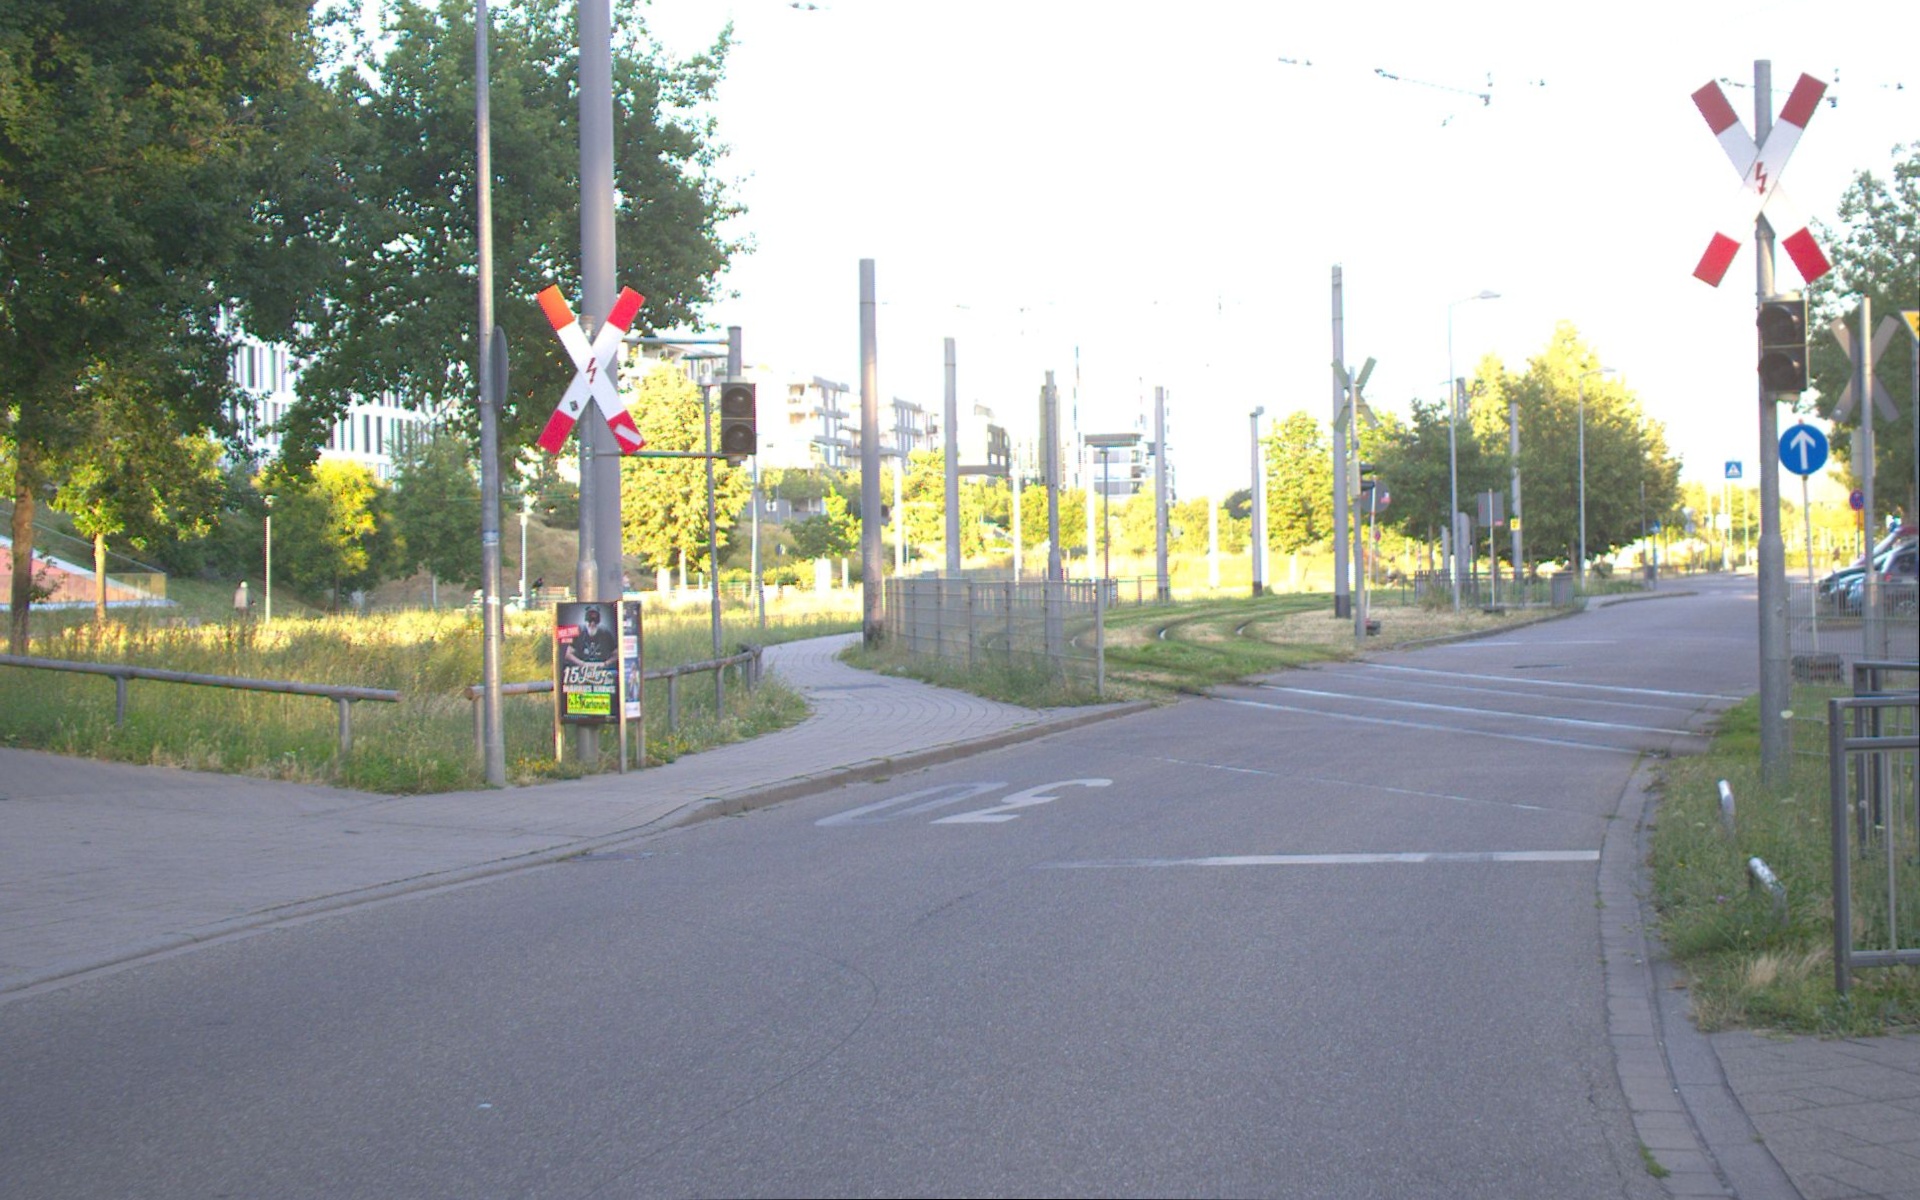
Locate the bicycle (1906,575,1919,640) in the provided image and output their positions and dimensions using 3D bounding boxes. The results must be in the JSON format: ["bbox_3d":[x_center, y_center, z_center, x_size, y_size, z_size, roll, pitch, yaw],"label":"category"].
[{"bbox_3d":[17.957,0.135,63.161,0.716,1.148,1.898,-3,2,4],"label":"bicycle"}]

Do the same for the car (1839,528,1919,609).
[{"bbox_3d":[20.014,-0.697,69.909,4.053,1.563,1.672,-2,0,15],"label":"car"}]

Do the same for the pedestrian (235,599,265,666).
[{"bbox_3d":[-22.087,1.012,106.934,0.616,2.075,0.790,1,0,14],"label":"pedestrian"}]

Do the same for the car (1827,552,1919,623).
[{"bbox_3d":[20.972,-0.286,75.318,3.776,1.490,1.538,-1,-2,15],"label":"car"}]

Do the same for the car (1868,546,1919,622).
[{"bbox_3d":[19.892,-0.342,67.745,3.751,1.468,1.612,-1,0,11],"label":"car"}]

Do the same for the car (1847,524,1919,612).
[{"bbox_3d":[24.435,-0.824,84.641,4.923,2.110,2.015,-1,0,16],"label":"car"}]
